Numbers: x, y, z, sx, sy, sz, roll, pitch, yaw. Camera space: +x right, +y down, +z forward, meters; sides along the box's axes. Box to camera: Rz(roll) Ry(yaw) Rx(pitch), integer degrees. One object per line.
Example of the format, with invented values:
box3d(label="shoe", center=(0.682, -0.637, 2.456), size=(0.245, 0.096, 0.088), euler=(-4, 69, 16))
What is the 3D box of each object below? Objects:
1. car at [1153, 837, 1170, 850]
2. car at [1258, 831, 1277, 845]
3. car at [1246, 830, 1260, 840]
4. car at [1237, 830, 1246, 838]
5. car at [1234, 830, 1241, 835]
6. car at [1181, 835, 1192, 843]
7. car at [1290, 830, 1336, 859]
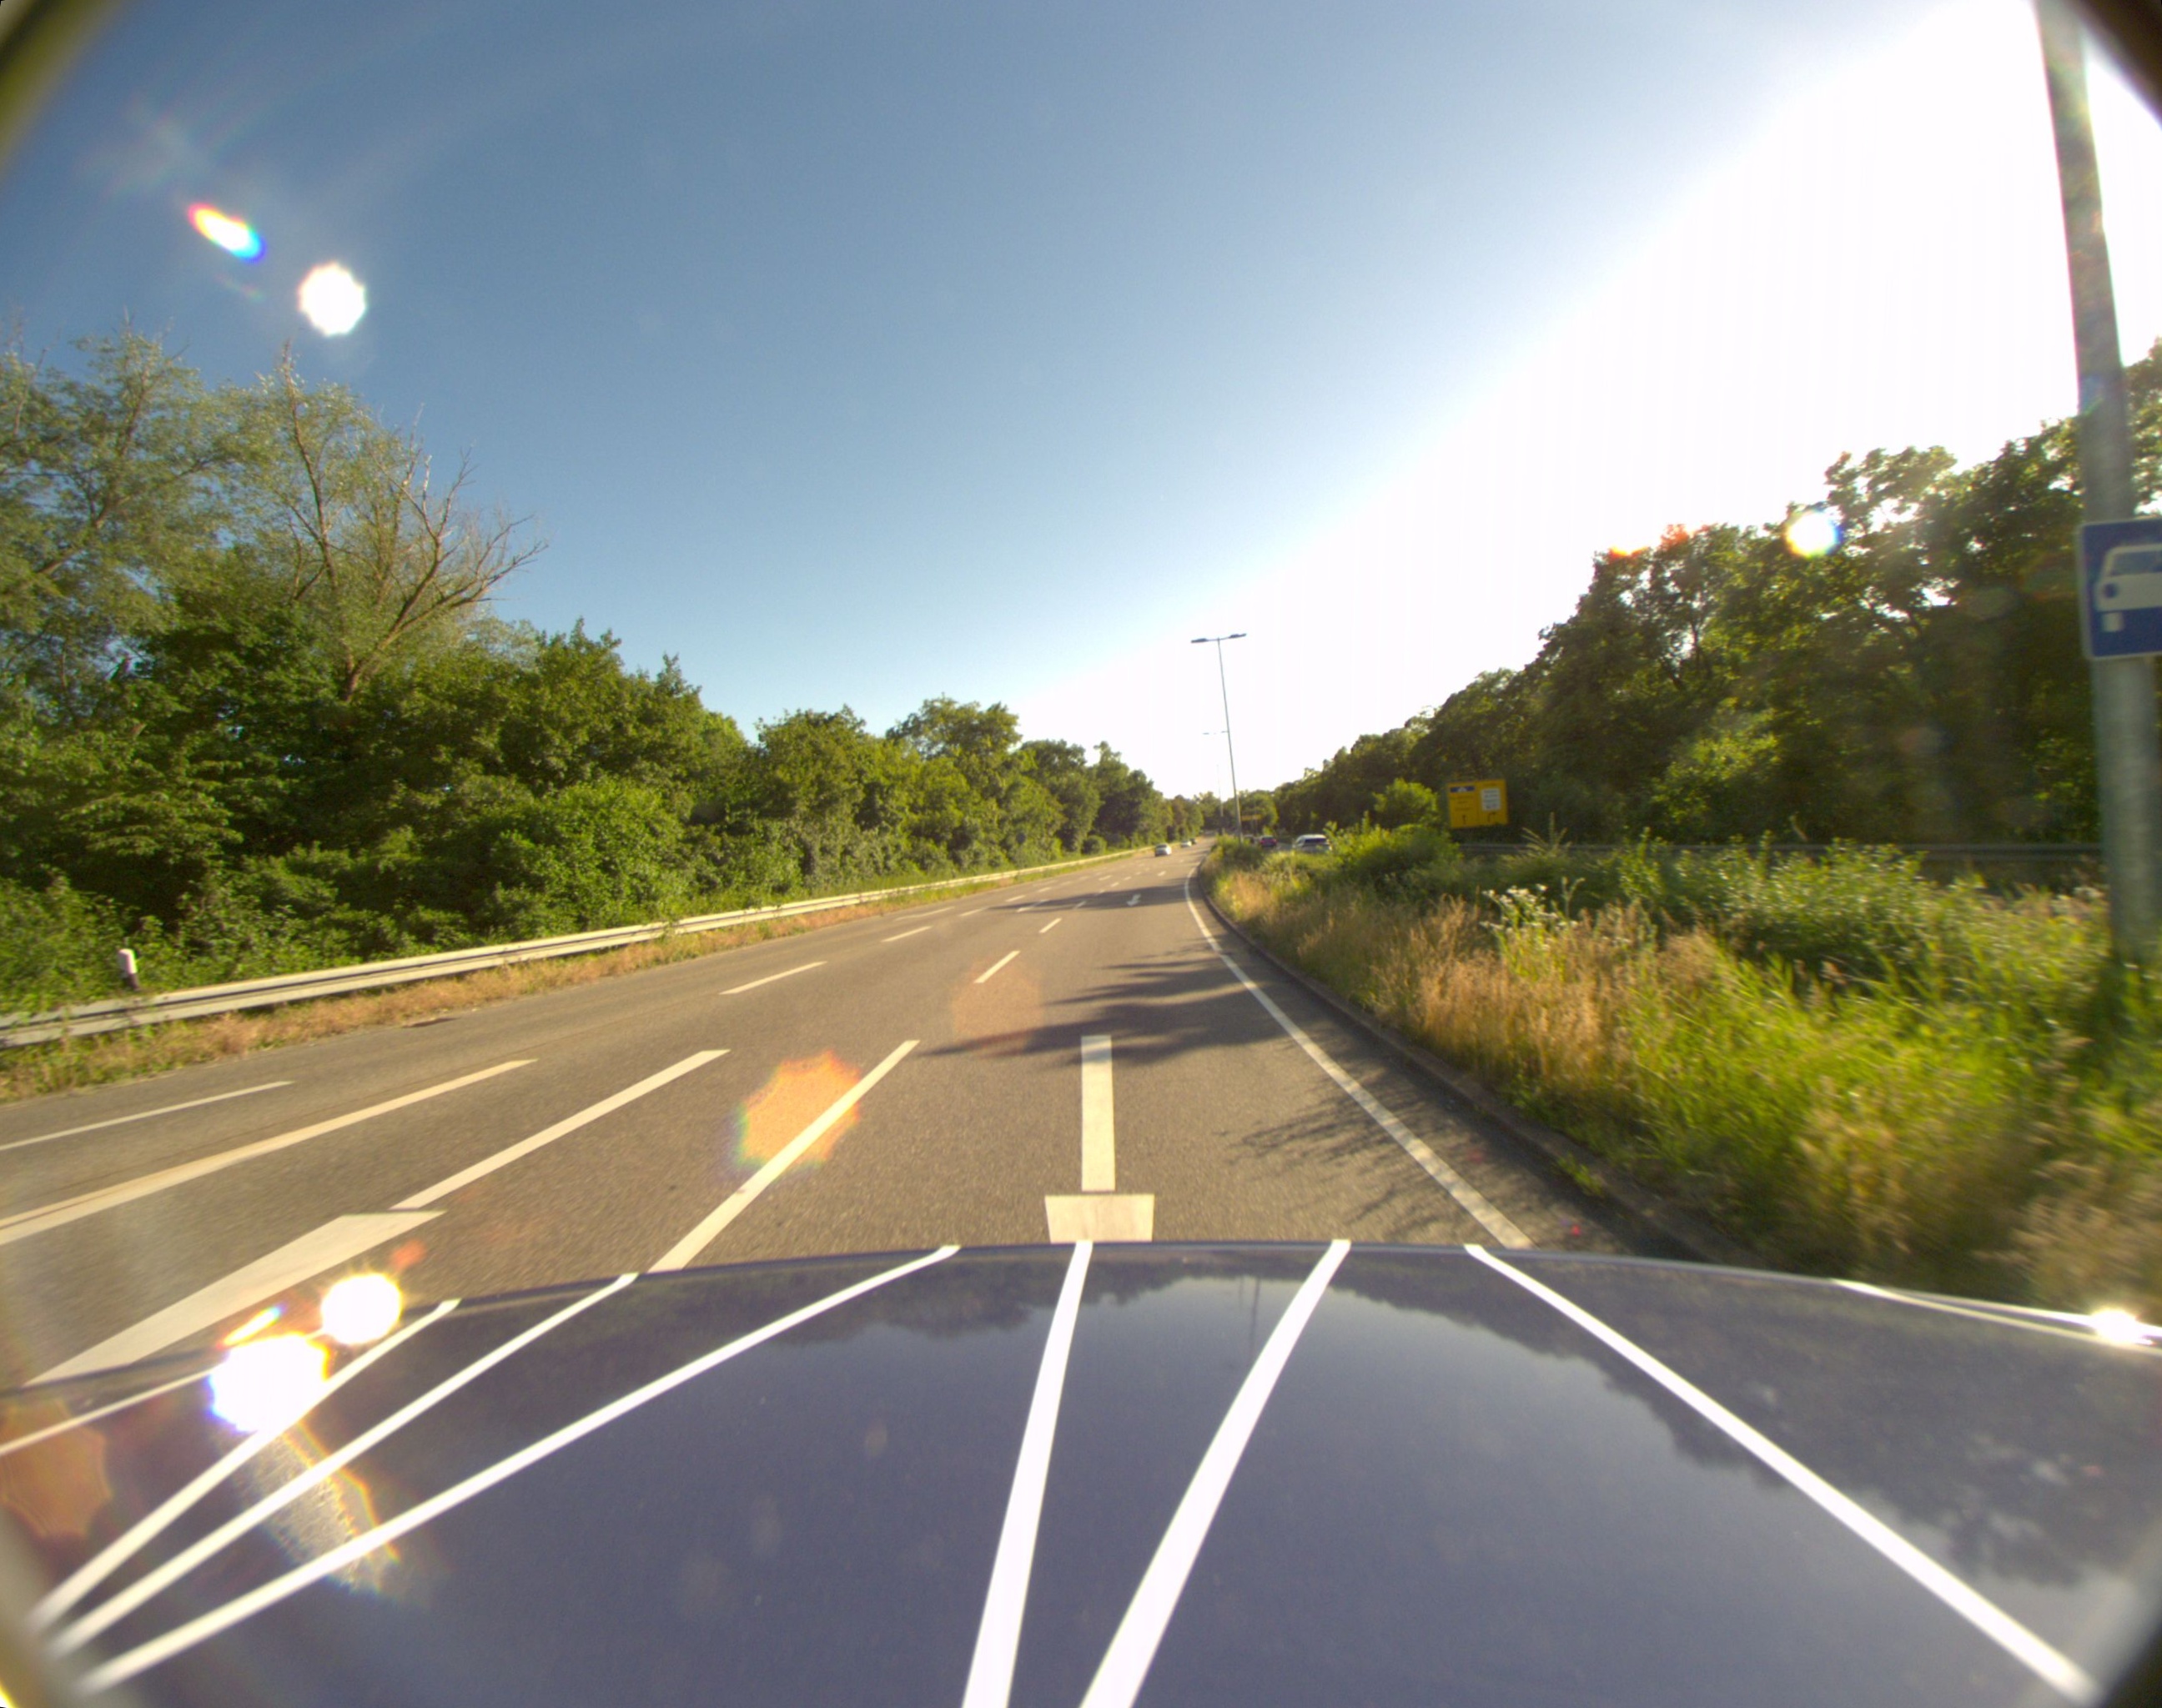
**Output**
box3d(label="car", center=(9.572, -1.241, 90.304), size=(1.680, 1.477, 3.392), euler=(-4, 0, 10))
box3d(label="car", center=(20.568, -1.747, 83.942), size=(1.889, 1.412, 4.367), euler=(-2, 1, 12))
box3d(label="car", center=(28.000, -3.115, 123.623), size=(1.808, 1.409, 4.533), euler=(-3, 1, 8))
box3d(label="car", center=(36.984, -4.521, 175.156), size=(1.690, 1.678, 3.624), euler=(-4, 0, 11))
box3d(label="car", center=(46.014, -6.287, 223.024), size=(1.776, 1.349, 4.464), euler=(-5, 1, 10))
box3d(label="car", center=(20.344, -2.910, 146.402), size=(1.909, 1.477, 3.346), euler=(-4, 0, 10))
box3d(label="car", center=(13.794, -0.565, 45.414), size=(1.889, 1.511, 4.218), euler=(-4, 0, 7))
